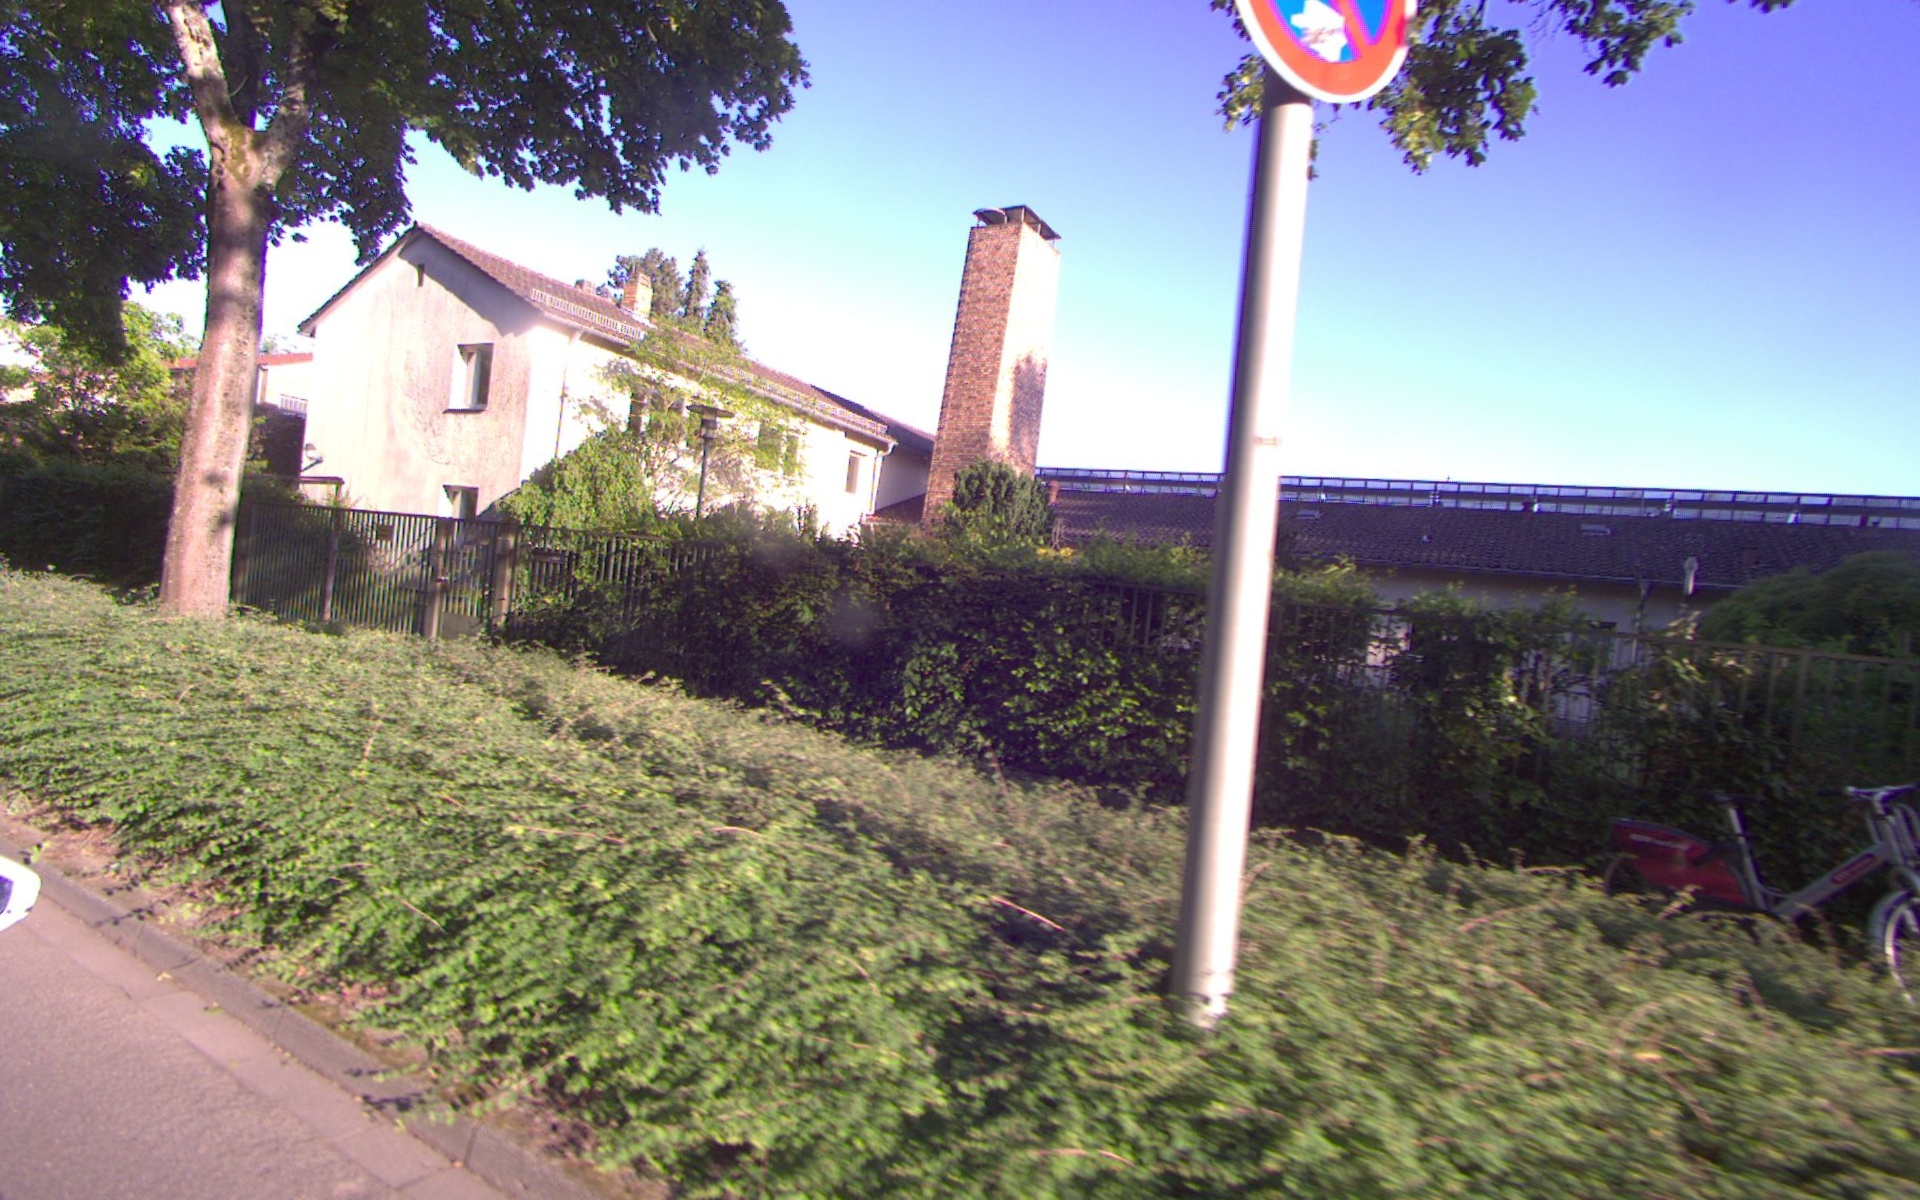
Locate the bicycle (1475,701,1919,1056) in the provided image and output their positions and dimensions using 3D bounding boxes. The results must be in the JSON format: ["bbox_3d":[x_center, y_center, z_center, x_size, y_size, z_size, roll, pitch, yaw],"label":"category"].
[{"bbox_3d":[4.069,1.311,5.153,0.877,1.216,2.304,5,2,-34],"label":"bicycle"}]
